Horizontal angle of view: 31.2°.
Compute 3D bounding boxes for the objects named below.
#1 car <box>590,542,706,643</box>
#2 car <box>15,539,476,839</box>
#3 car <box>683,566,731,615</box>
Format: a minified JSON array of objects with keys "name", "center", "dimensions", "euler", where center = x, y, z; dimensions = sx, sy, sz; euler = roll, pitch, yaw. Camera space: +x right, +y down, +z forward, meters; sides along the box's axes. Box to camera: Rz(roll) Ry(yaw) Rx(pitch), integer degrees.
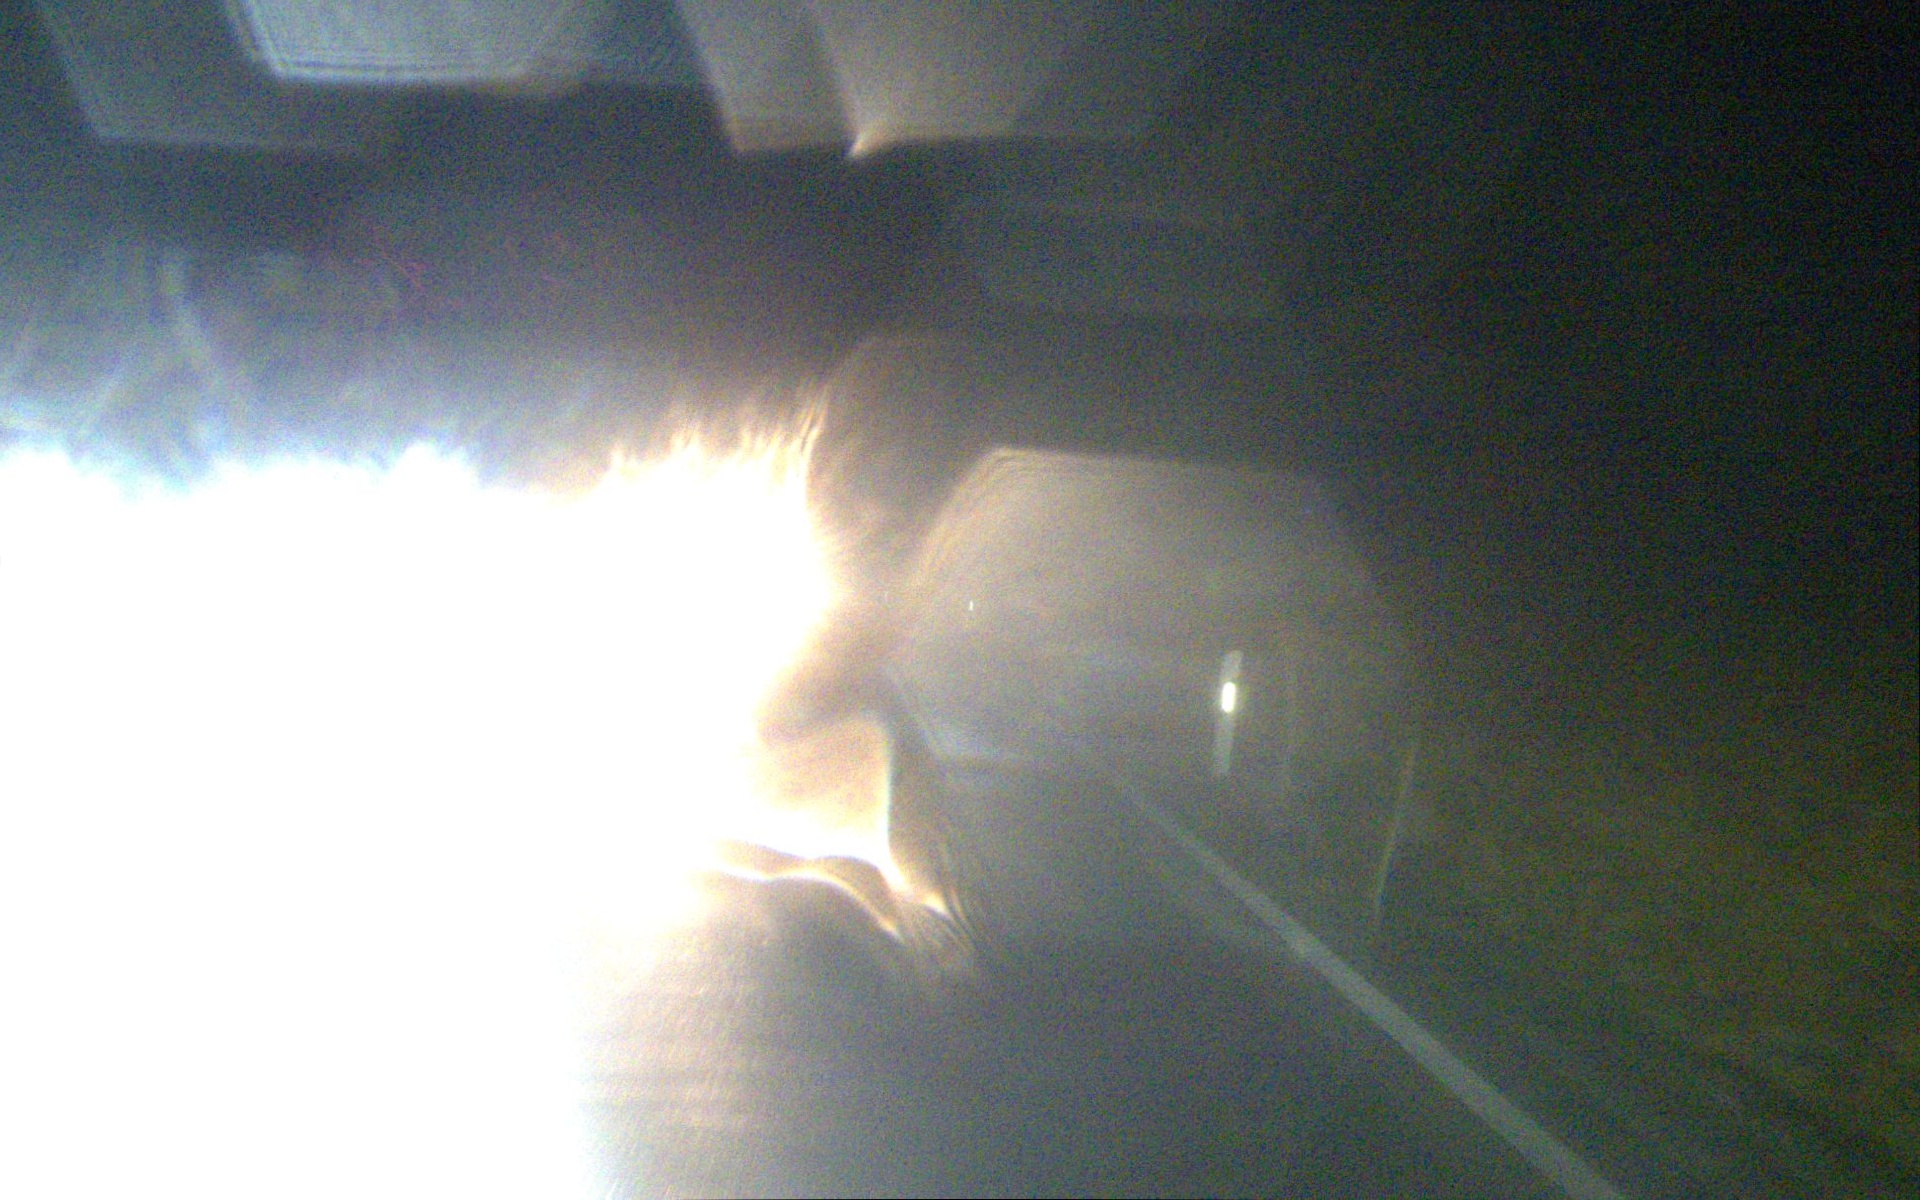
[{"name":"car","center":[-5.383,-0.146,59.799],"dimensions":[1.654,1.677,4.520],"euler":[0,1,-1]},{"name":"car","center":[-4.150,0.456,20.631],"dimensions":[1.923,1.610,4.085],"euler":[0,1,0]},{"name":"car","center":[-8.992,-0.352,122.527],"dimensions":[1.483,1.610,3.561],"euler":[3,1,-2]}]
